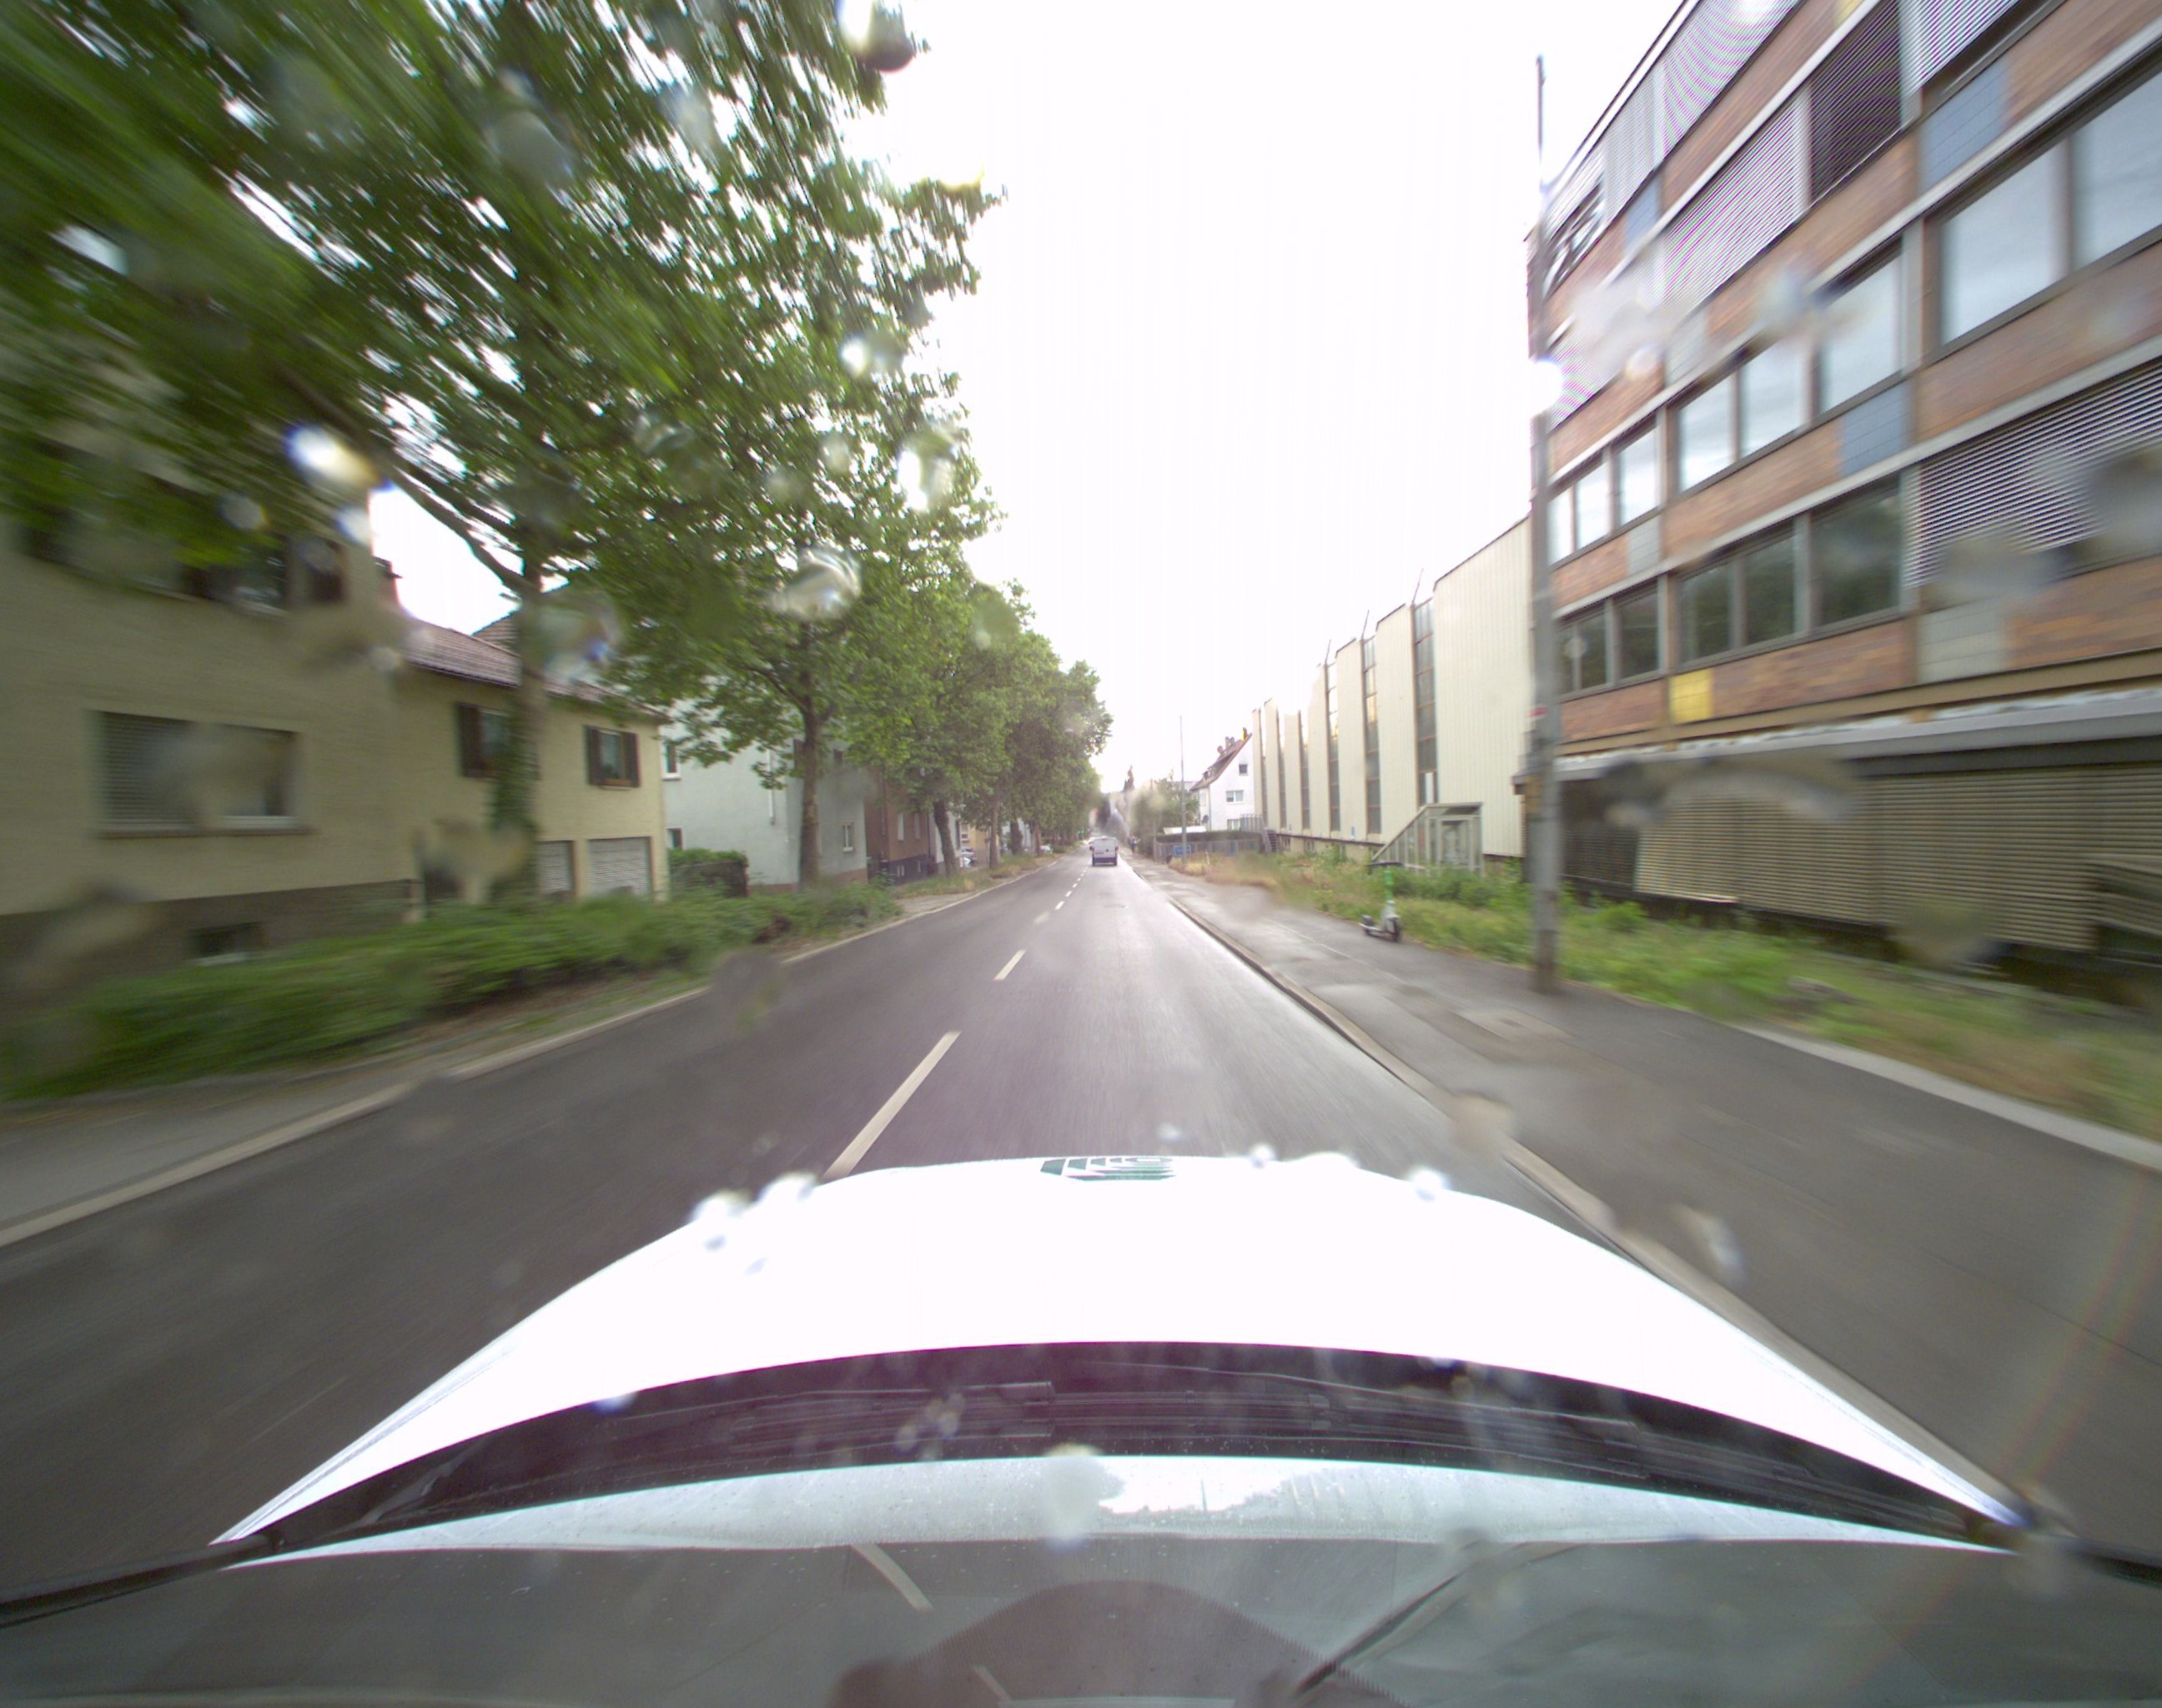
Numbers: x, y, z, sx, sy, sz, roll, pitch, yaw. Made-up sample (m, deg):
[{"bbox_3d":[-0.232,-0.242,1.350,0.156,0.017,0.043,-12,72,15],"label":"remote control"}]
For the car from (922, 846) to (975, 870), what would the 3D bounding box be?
[{"bbox_3d":[-11.553,0.324,71.239,4.182,1.891,2.000,-2,1,0],"label":"car"}]

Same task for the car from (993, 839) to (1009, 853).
[{"bbox_3d":[-11.817,-1.190,120.649,1.868,1.894,4.002,-2,2,1],"label":"car"}]

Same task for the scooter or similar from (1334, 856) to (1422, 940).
[{"bbox_3d":[4.484,0.628,12.417,0.603,1.162,1.698,-2,0,-2],"label":"scooter or similar"}]

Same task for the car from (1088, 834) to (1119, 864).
[{"bbox_3d":[1.821,-0.470,67.052,2.339,2.160,4.778,-3,2,0],"label":"car"}]

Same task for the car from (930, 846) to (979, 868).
[{"bbox_3d":[-11.870,0.271,76.756,4.182,1.891,2.000,-2,1,0],"label":"car"}]

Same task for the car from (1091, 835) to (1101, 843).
[{"bbox_3d":[3.492,-3.587,192.465,1.988,1.709,4.256,-2,0,-2],"label":"car"}]

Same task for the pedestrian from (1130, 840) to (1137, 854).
[{"bbox_3d":[6.394,-0.848,99.124,0.812,1.698,0.730,-2,0,5],"label":"pedestrian"}]
